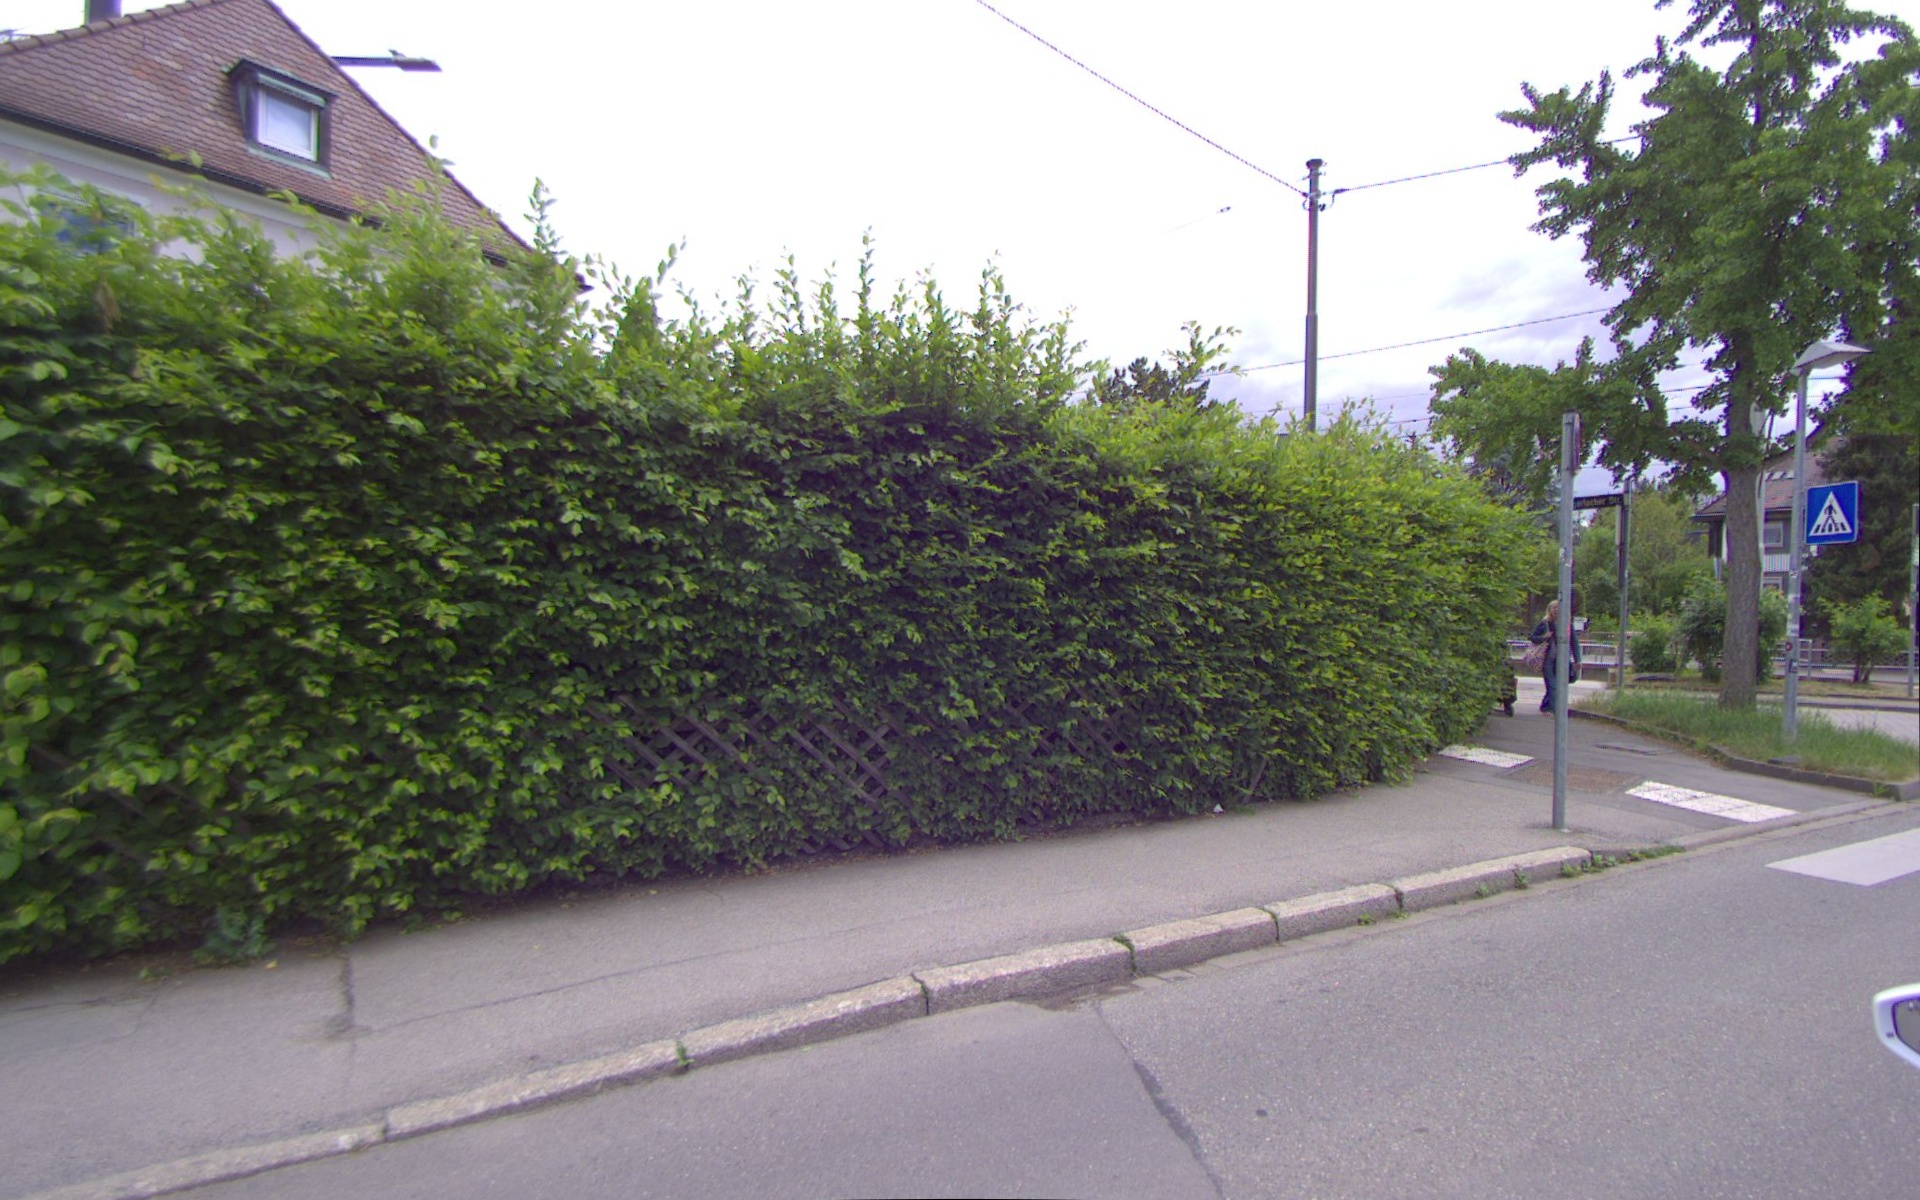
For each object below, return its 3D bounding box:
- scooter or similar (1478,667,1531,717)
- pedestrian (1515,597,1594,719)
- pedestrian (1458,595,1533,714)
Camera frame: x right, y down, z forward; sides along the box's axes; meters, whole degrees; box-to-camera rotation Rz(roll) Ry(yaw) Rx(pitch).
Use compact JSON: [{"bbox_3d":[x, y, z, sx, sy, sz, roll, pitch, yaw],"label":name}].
[{"bbox_3d":[7.542,1.272,13.935,0.479,0.618,0.400,3,2,2],"label":"scooter or similar"},{"bbox_3d":[8.370,0.800,14.164,0.664,1.642,0.598,2,2,2],"label":"pedestrian"},{"bbox_3d":[7.671,0.767,14.418,0.664,1.642,0.598,2,2,2],"label":"pedestrian"}]
